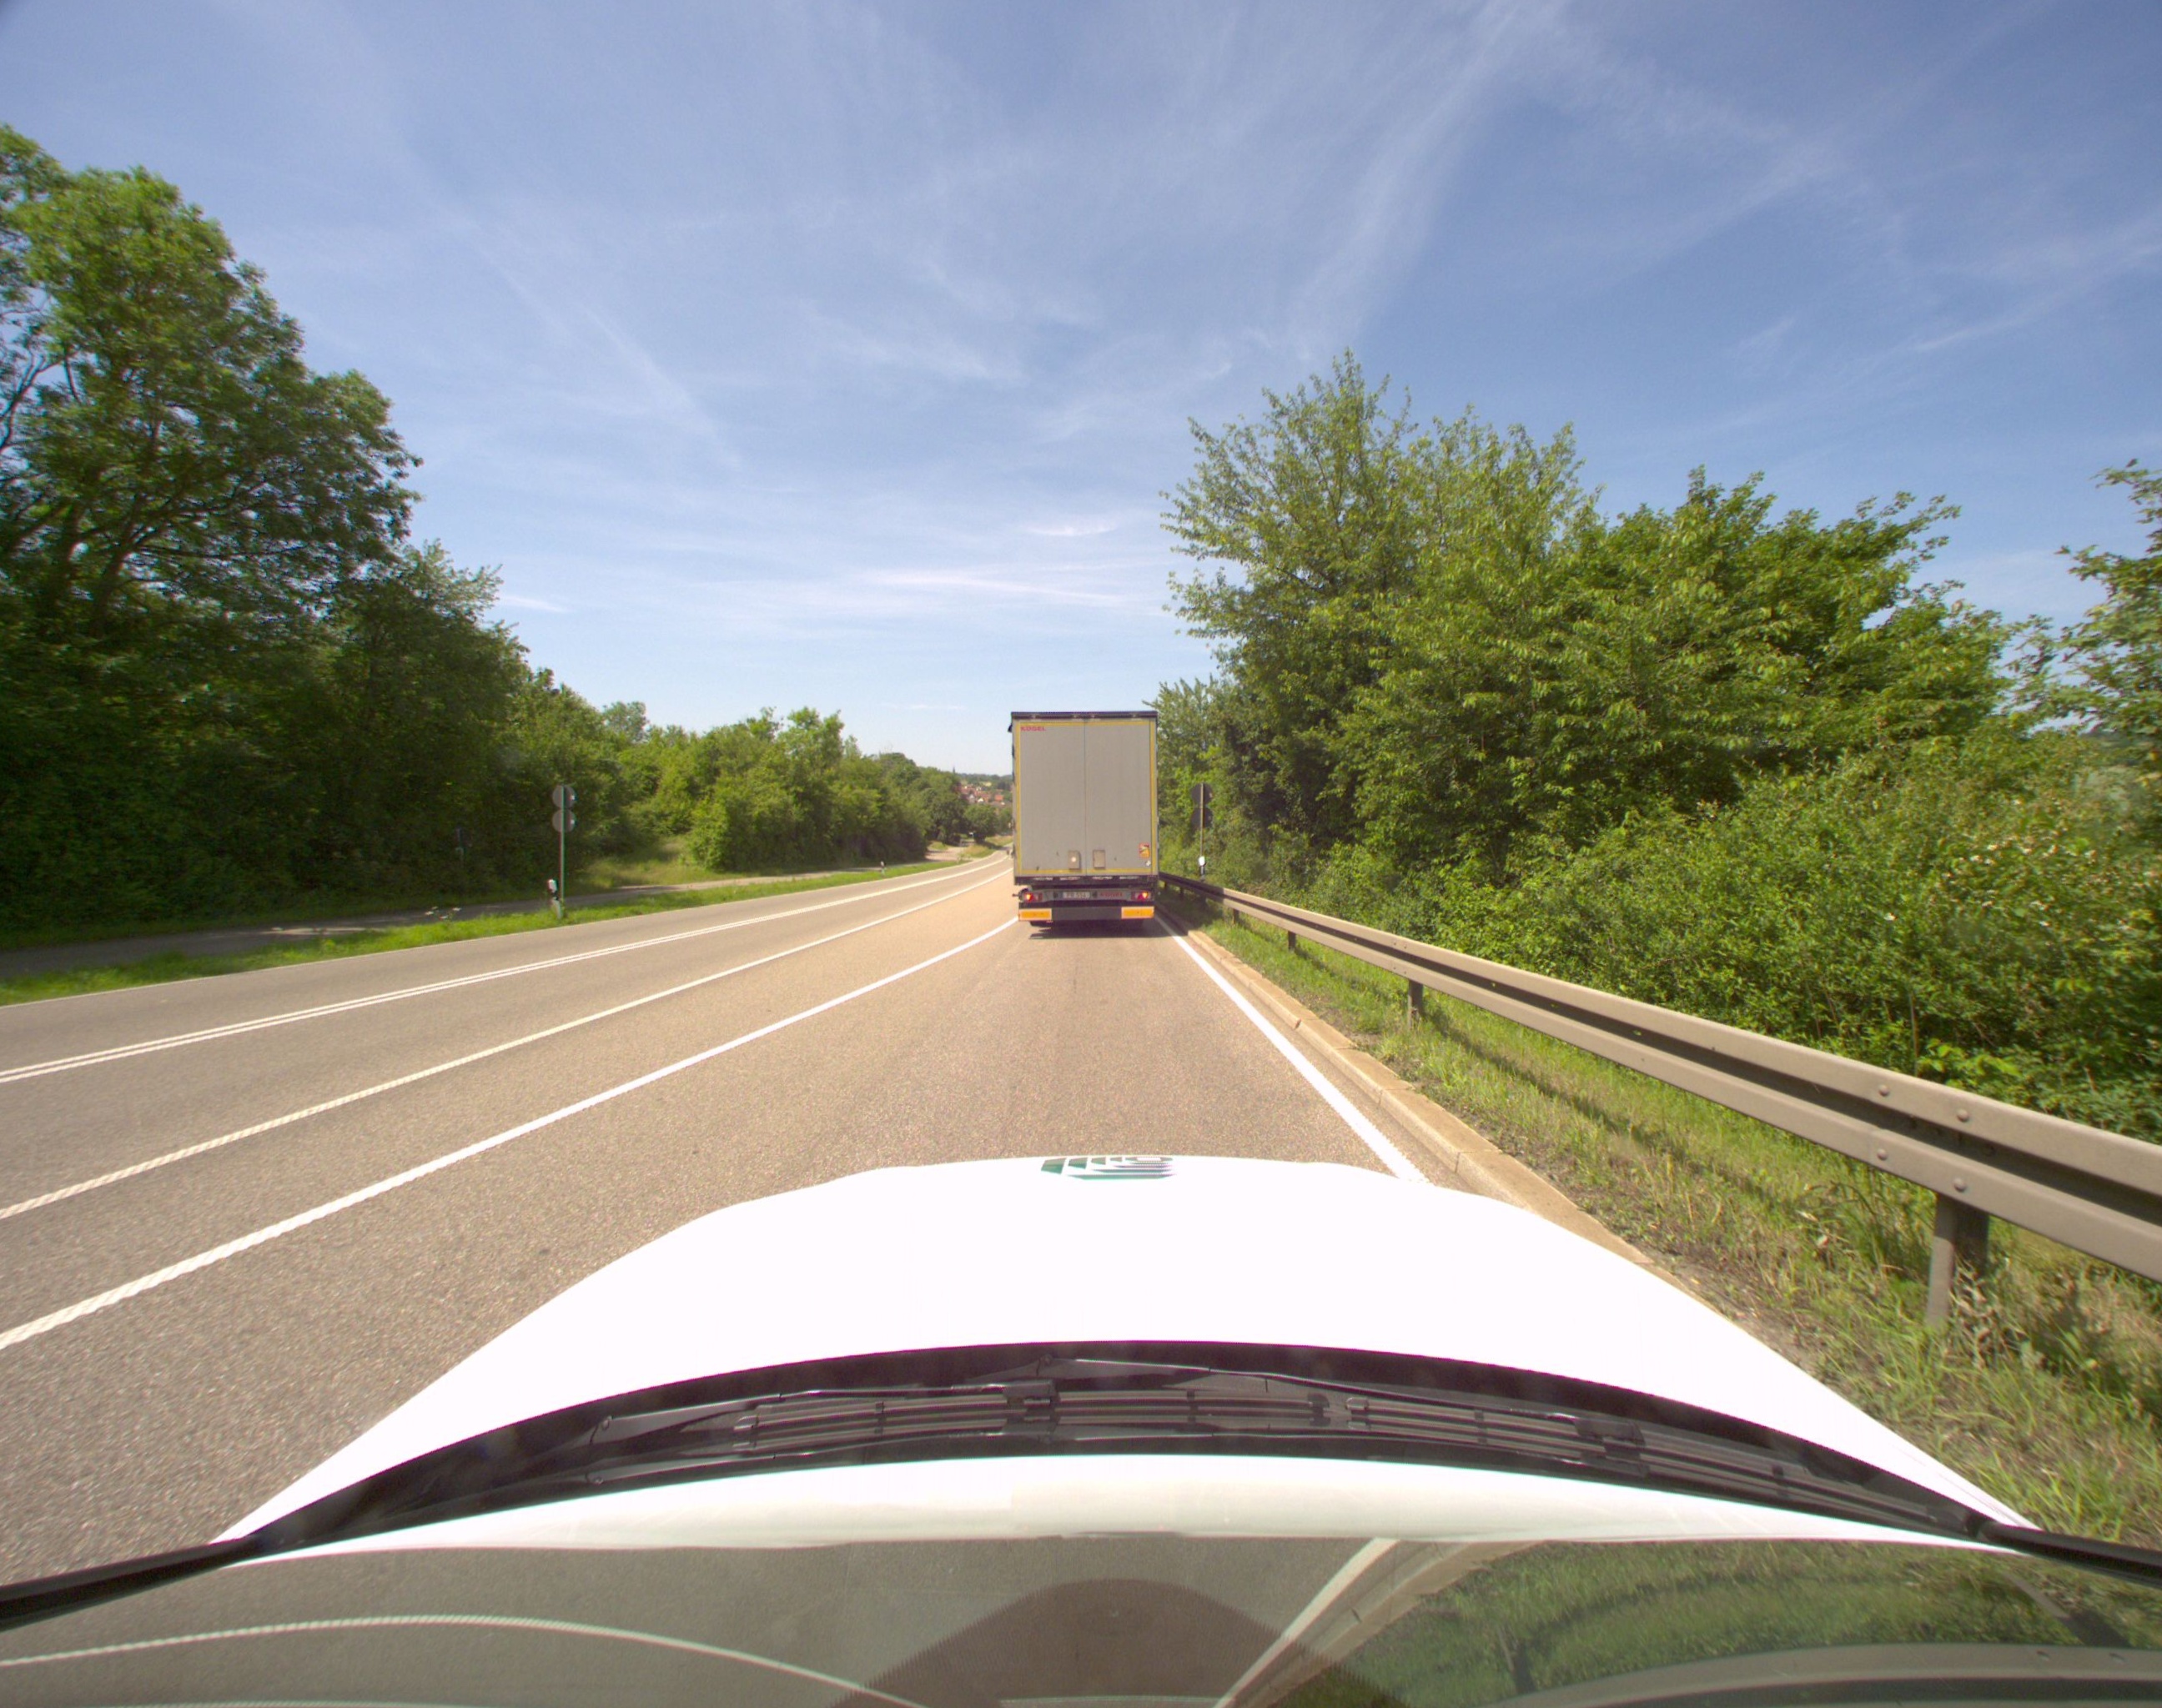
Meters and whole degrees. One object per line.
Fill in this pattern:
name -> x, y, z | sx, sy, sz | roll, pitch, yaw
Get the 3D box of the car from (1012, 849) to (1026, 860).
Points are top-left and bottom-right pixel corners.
car -> -11.244, 0.083, 147.276 | 1.808, 1.794, 3.824 | -1, -1, -13

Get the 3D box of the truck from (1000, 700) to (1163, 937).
truck -> 0.202, -0.638, 19.994 | 2.747, 4.029, 11.929 | -1, 0, 2
